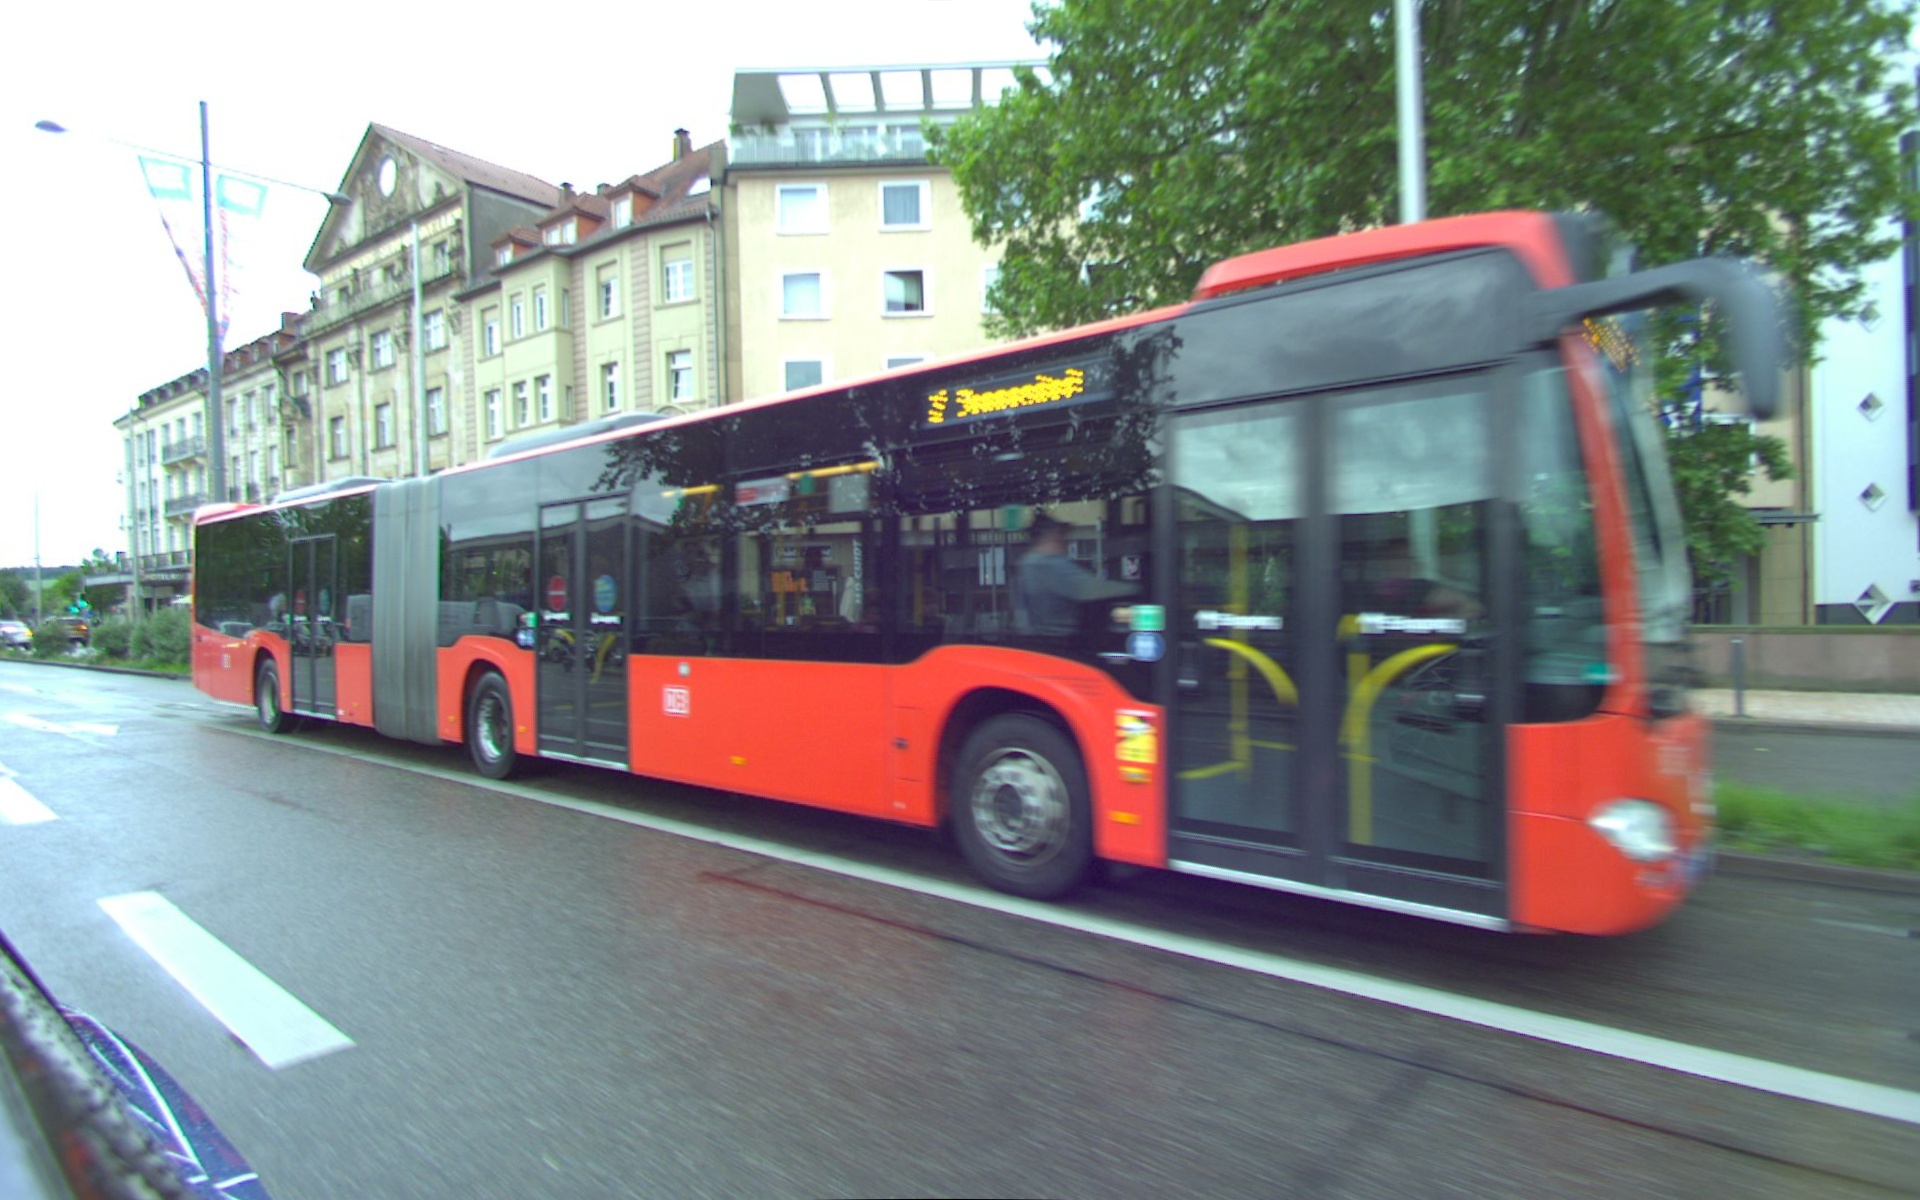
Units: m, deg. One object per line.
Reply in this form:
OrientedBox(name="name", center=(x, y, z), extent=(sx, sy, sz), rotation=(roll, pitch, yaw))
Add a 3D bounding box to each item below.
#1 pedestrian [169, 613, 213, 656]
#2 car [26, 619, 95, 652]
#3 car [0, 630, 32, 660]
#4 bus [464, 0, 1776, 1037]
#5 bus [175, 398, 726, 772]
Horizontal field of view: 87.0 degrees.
OrientedBox(name="pedestrian", center=(-37.342, 1.668, 49.157), extent=(0.763, 1.915, 0.675), rotation=(-8, -37, 32))
OrientedBox(name="car", center=(-48.381, 1.909, 54.401), extent=(4.094, 1.693, 1.976), rotation=(-1, -1, 36))
OrientedBox(name="car", center=(-47.932, 2.206, 50.317), extent=(4.976, 1.417, 1.774), rotation=(-1, -1, 37))
OrientedBox(name="bus", center=(-0.100, -0.197, 6.996), extent=(8.837, 3.156, 2.724), rotation=(-1, -1, 41))
OrientedBox(name="bus", center=(-7.208, -0.059, 13.137), extent=(9.906, 3.270, 2.781), rotation=(-1, -1, 41))
